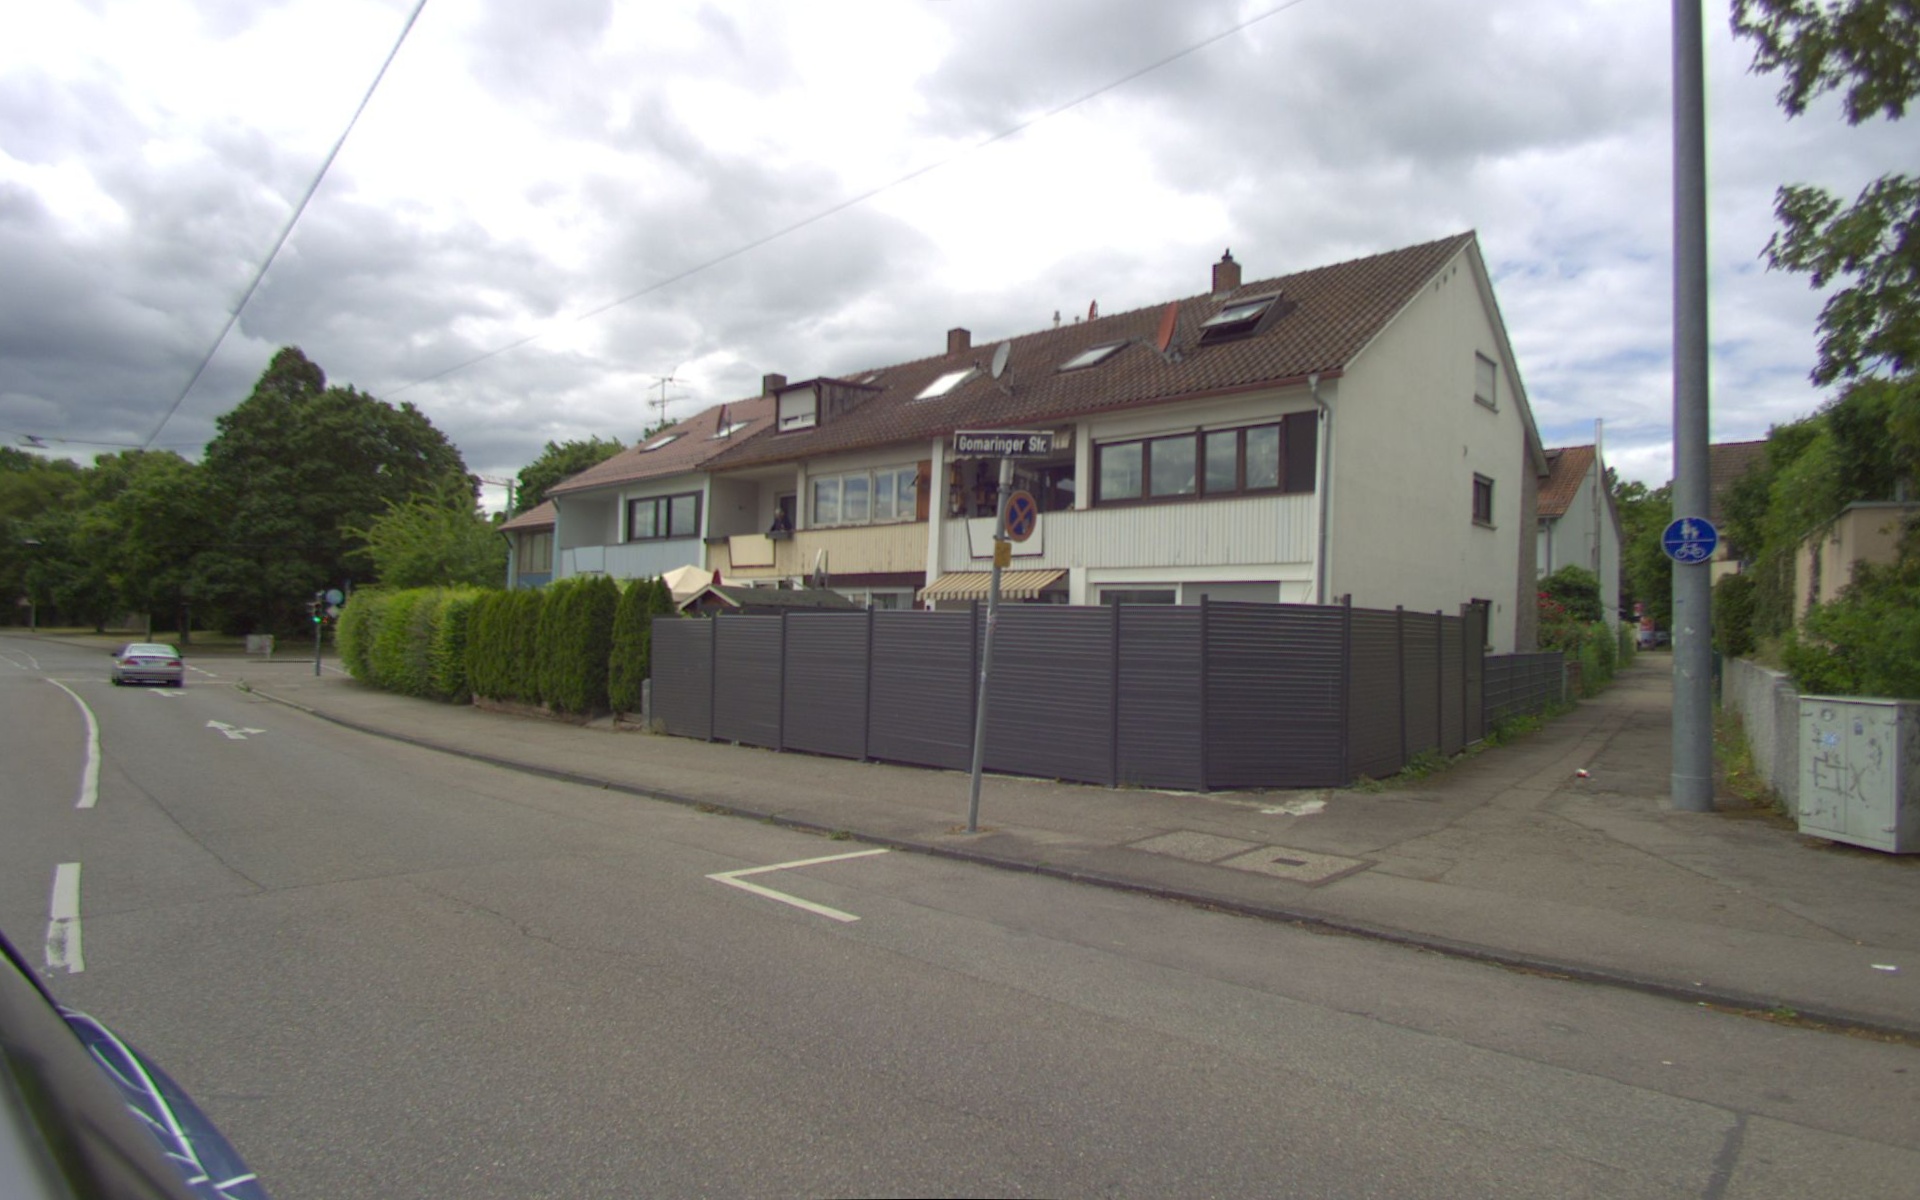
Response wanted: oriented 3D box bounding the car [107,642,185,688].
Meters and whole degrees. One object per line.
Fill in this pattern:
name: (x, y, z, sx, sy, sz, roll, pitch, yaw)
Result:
car: (-26.719, 2.107, 33.167, 1.692, 1.364, 4.088, 7, -6, -41)
